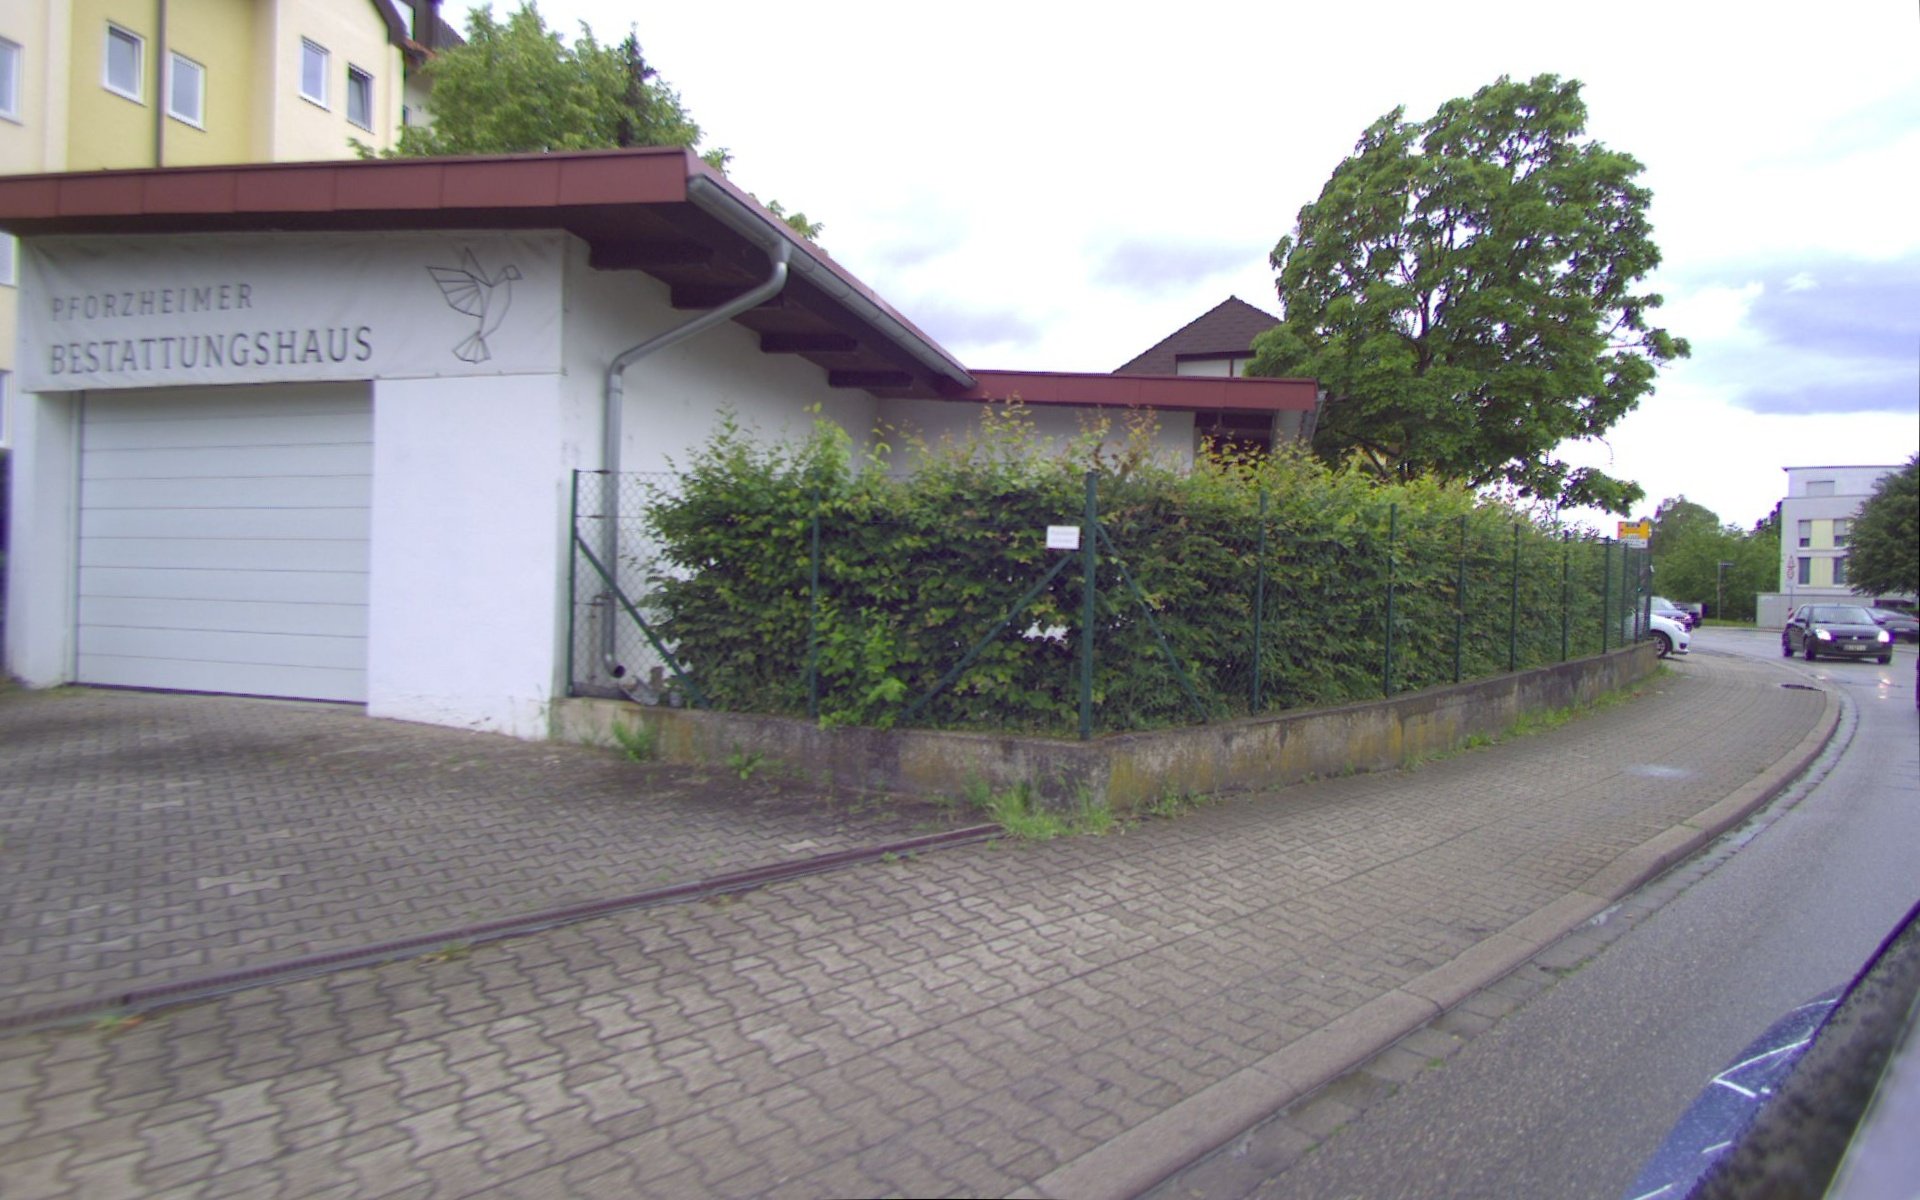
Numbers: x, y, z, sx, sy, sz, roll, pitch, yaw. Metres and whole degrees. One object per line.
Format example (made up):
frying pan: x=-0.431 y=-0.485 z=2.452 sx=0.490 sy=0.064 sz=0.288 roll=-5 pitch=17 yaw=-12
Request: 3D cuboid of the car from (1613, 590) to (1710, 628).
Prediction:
car: x=30.575 y=0.360 z=44.258 sx=1.810 sy=1.569 sz=3.992 roll=0 pitch=1 yaw=7

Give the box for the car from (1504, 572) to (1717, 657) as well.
car: x=15.456 y=0.293 z=24.332 sx=3.960 sy=1.578 sz=1.866 roll=6 pitch=3 yaw=25

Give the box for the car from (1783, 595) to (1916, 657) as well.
car: x=23.511 y=0.622 z=26.914 sx=1.826 sy=1.467 sz=3.959 roll=1 pitch=1 yaw=29

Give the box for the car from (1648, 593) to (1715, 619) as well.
car: x=42.714 y=0.331 z=59.988 sx=1.857 sy=1.353 sz=3.983 roll=2 pitch=2 yaw=14

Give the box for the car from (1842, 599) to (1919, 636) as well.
car: x=38.065 y=0.699 z=41.358 sx=1.864 sy=1.353 sz=3.968 roll=2 pitch=2 yaw=24

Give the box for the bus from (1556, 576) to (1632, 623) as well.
bus: x=47.263 y=-0.159 z=75.806 sx=2.755 sy=3.172 sz=10.783 roll=2 pitch=2 yaw=21
